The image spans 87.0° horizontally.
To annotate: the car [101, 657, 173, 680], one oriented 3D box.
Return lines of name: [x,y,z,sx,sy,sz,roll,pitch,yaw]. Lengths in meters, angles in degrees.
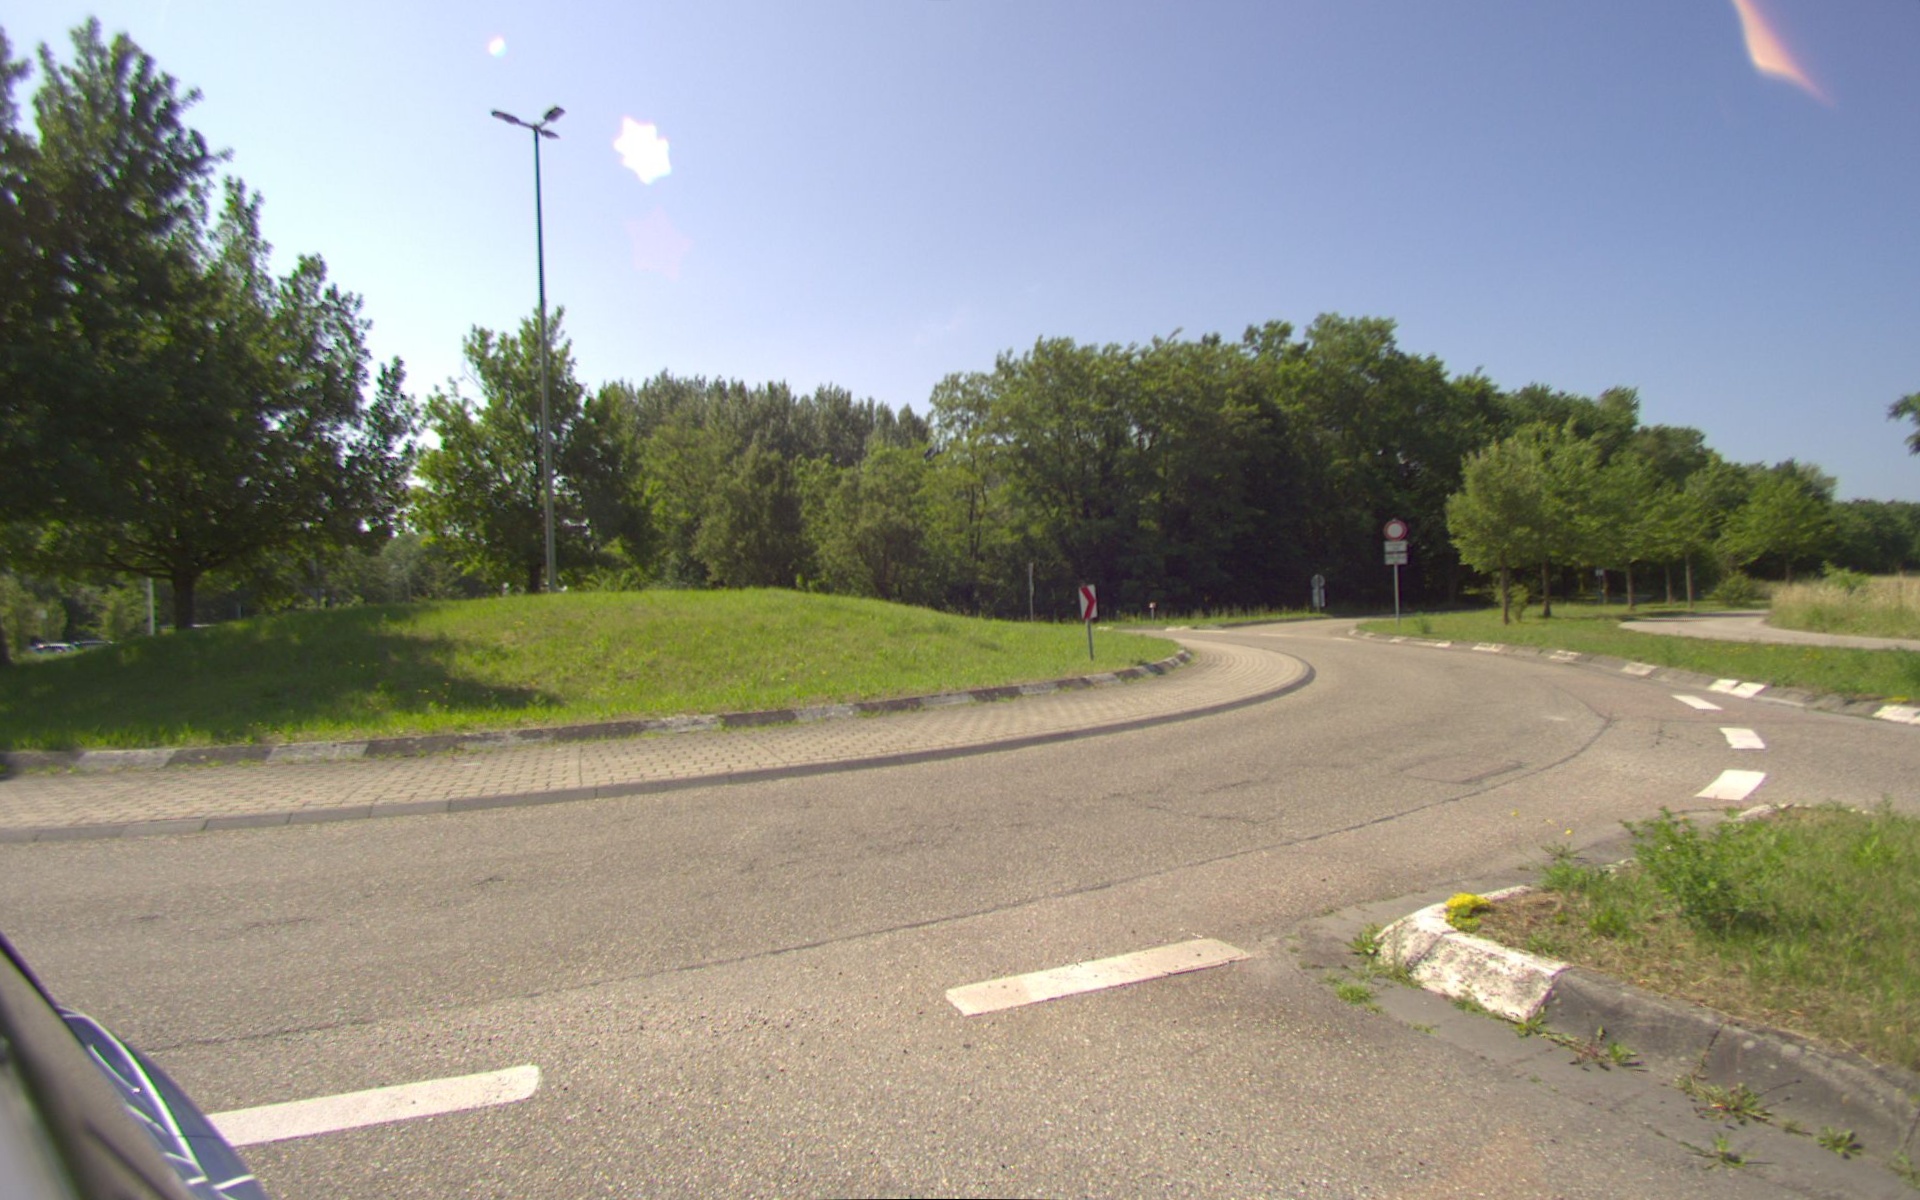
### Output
car: [-60.968,5.047,75.054,3.908,1.464,1.910,-2,-2,-33]

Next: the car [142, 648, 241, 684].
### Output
car: [-37.280,3.188,49.202,3.543,1.574,1.819,-1,-2,-27]

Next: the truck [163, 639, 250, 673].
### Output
truck: [-63.768,4.728,85.810,5.520,2.625,2.210,-2,-2,-24]

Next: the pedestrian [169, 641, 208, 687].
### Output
pedestrian: [-31.177,2.583,40.897,0.871,1.799,0.839,-3,-2,11]

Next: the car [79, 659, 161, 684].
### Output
car: [-56.444,4.803,68.086,3.932,1.438,1.754,-2,-2,-30]

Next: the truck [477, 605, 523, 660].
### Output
truck: [-35.133,2.489,77.426,2.675,3.945,5.969,-2,-2,-20]

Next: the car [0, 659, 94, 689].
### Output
car: [-52.684,4.220,58.254,3.931,1.453,1.656,-2,-2,-23]
